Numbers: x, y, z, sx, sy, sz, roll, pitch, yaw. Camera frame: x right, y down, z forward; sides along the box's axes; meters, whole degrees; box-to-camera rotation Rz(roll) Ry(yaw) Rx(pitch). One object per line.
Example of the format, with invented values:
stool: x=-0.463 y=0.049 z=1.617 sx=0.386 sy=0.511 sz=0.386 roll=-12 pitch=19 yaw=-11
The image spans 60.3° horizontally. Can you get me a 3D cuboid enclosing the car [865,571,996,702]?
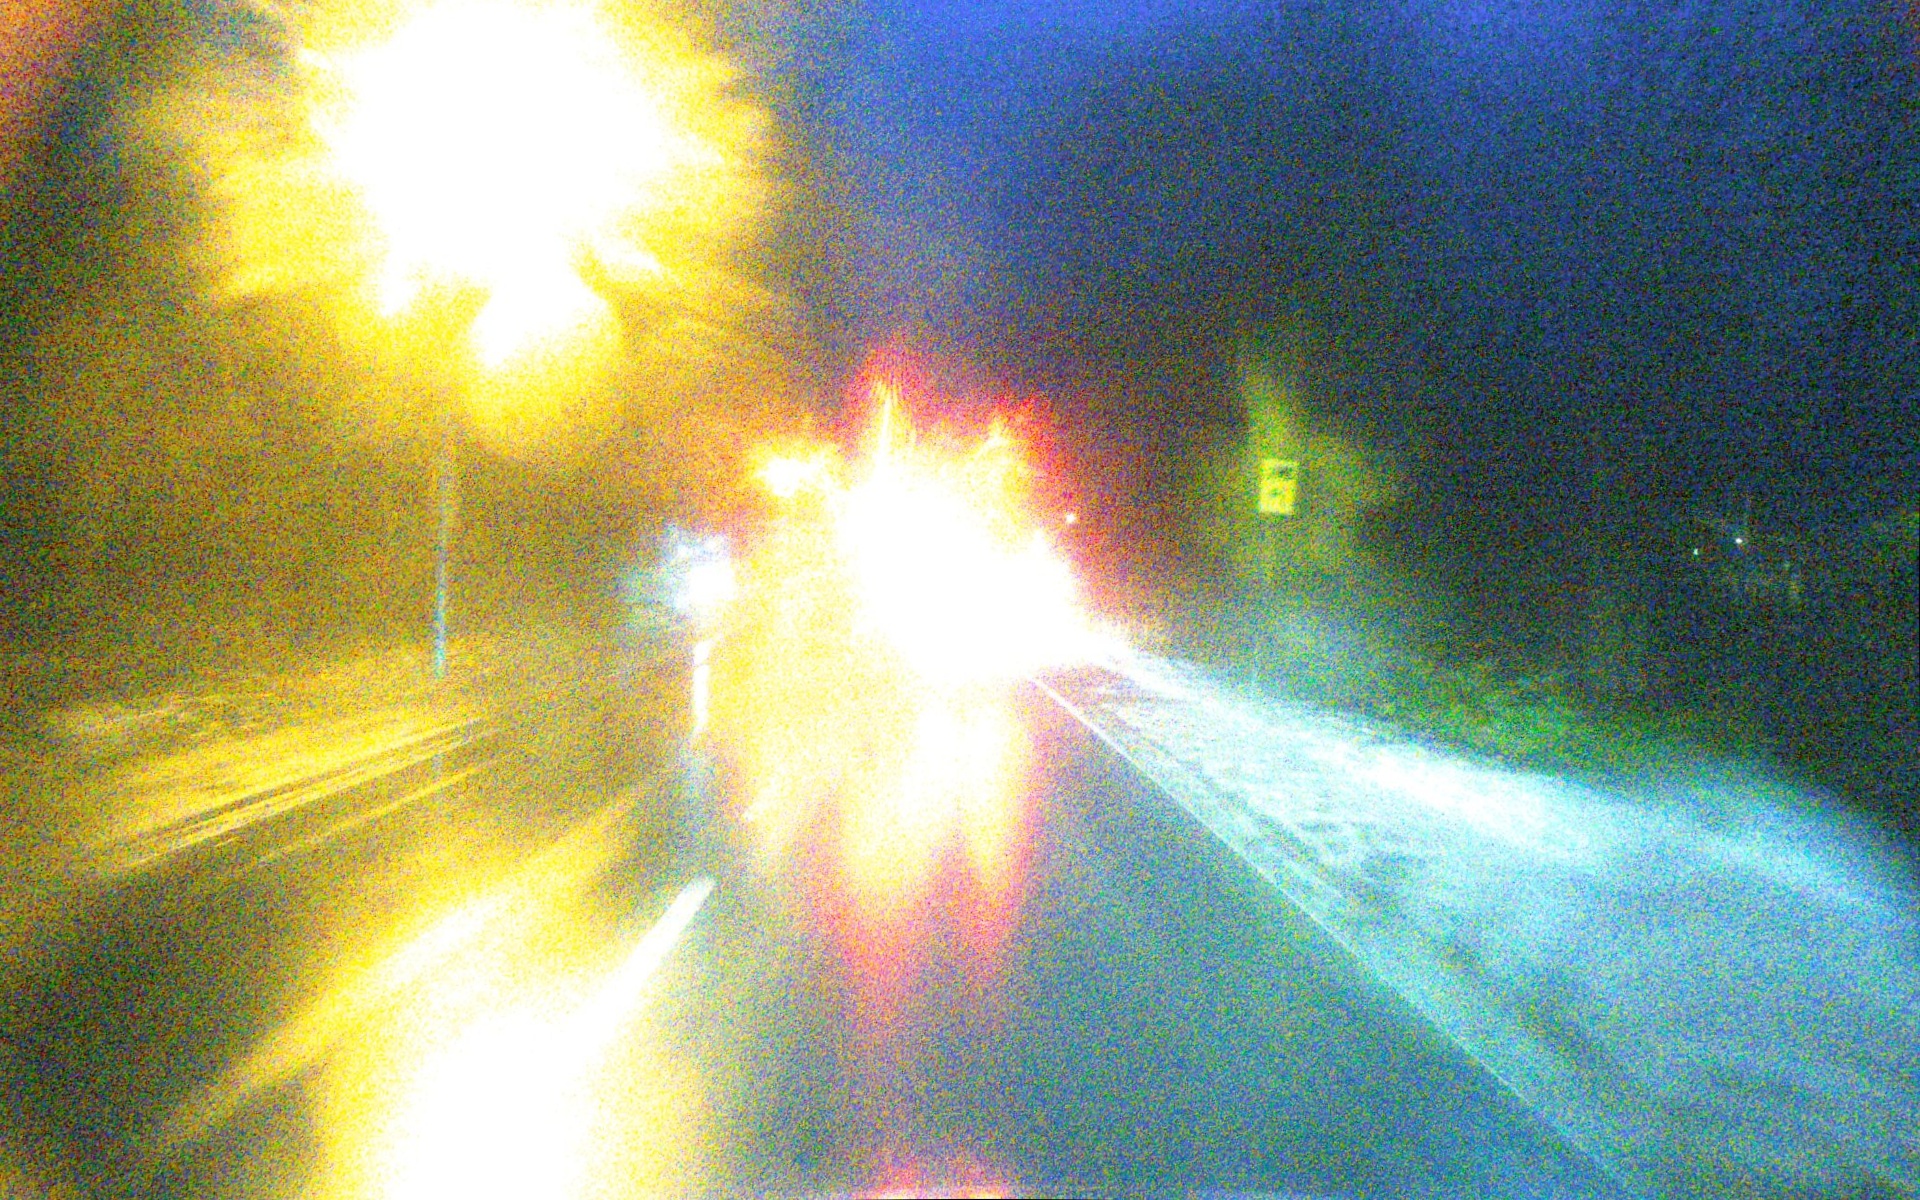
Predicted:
car: x=-0.411 y=0.458 z=24.192 sx=1.754 sy=1.710 sz=3.904 roll=1 pitch=1 yaw=-1
